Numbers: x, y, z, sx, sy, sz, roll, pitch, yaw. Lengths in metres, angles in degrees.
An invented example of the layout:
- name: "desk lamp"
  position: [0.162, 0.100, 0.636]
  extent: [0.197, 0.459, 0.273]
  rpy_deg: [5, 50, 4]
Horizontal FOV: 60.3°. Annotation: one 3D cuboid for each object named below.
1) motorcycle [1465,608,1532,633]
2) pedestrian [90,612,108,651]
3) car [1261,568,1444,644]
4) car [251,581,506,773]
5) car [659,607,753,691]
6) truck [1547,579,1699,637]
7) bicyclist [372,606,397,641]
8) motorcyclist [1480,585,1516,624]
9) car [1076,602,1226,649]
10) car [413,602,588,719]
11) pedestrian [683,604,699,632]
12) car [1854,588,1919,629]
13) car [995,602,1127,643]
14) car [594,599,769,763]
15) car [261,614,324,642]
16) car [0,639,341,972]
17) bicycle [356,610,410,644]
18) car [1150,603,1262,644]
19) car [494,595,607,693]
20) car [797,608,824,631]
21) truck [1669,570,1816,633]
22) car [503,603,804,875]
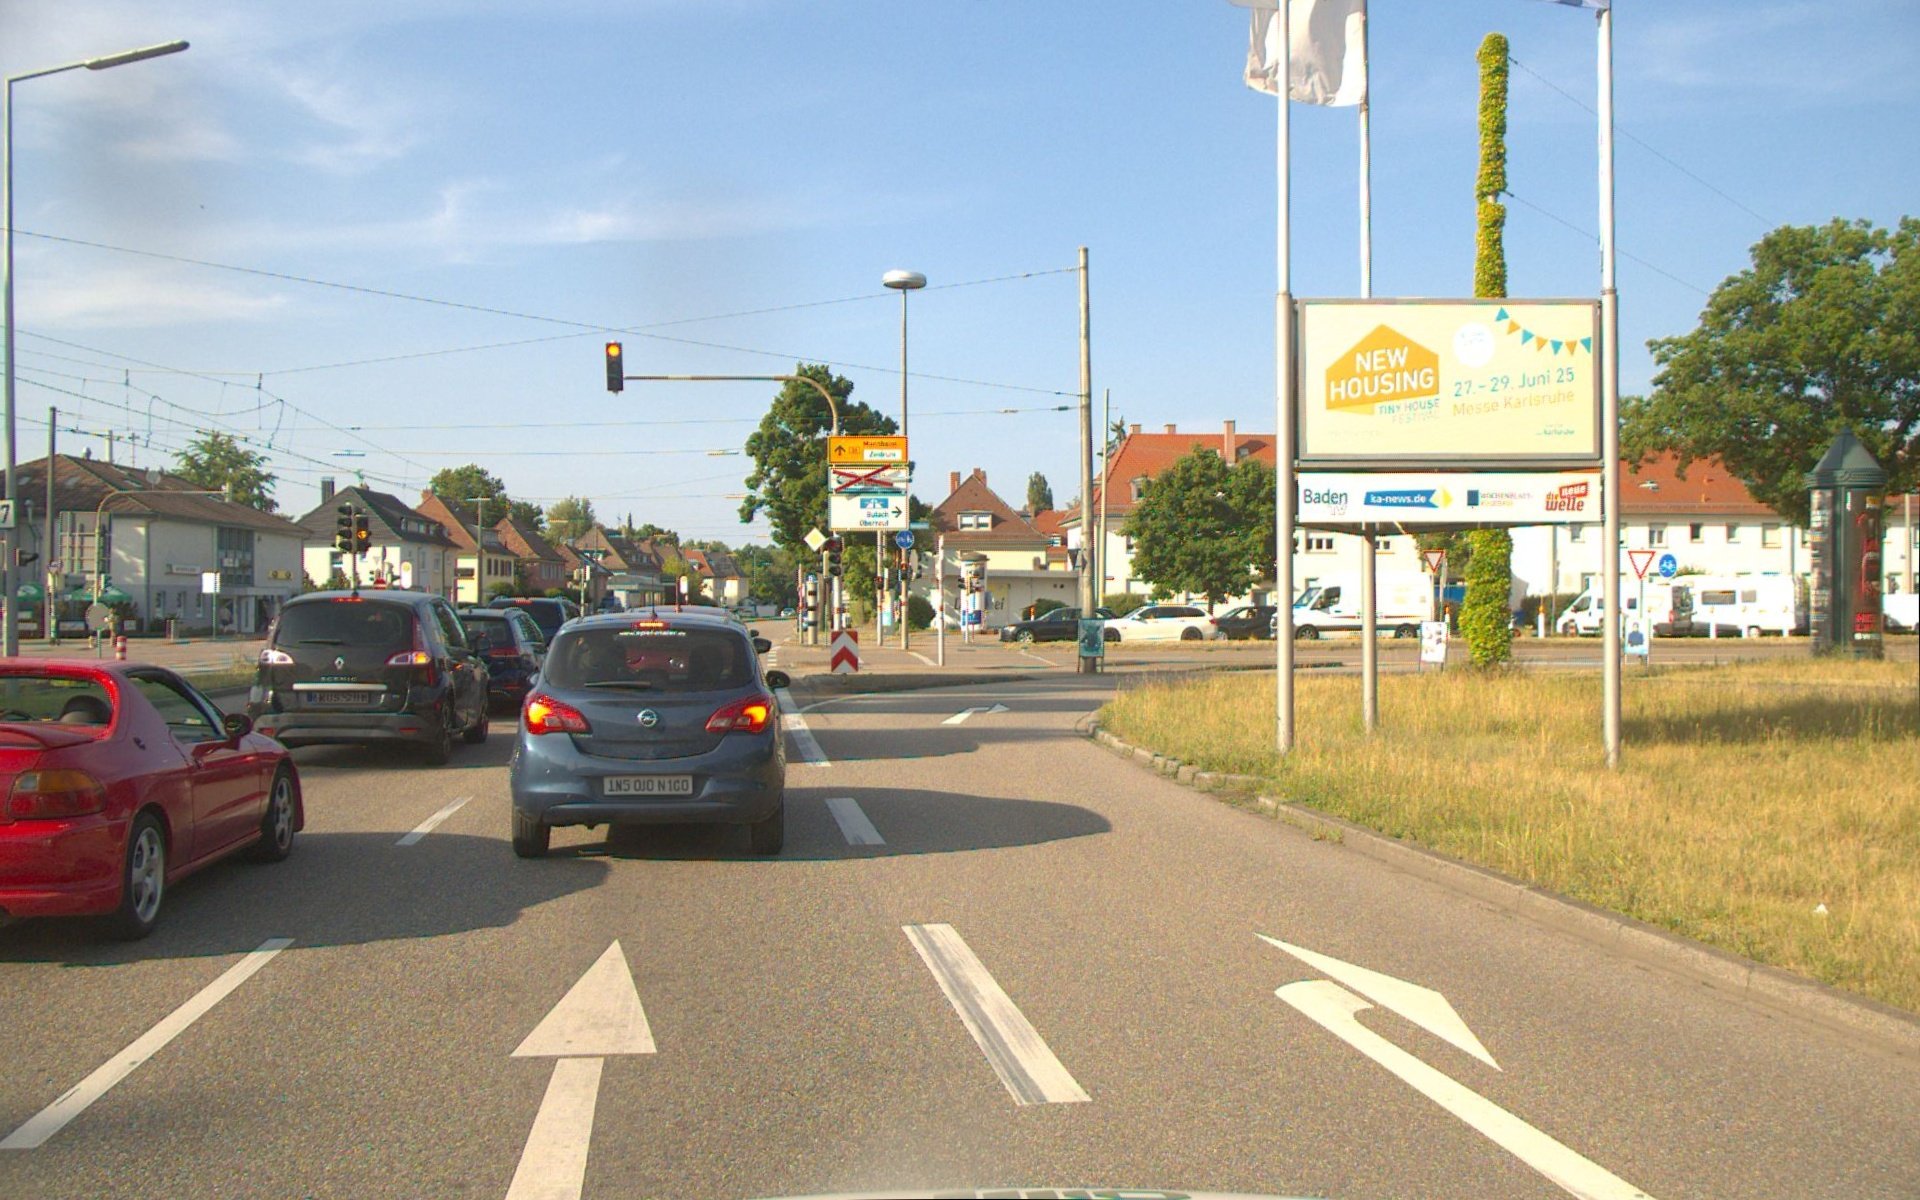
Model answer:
- name: "motorcycle"
  position: [19.254, 0.740, 59.159]
  extent: [2.228, 0.882, 0.689]
  rpy_deg: [0, 0, -8]
- name: "pedestrian"
  position: [-35.840, 1.296, 68.874]
  extent: [0.502, 1.627, 0.539]
  rpy_deg: [0, -1, -7]
- name: "car"
  position: [14.054, 0.213, 59.348]
  extent: [6.089, 2.629, 1.997]
  rpy_deg: [0, 0, -6]
- name: "car"
  position: [-5.756, 0.695, 16.844]
  extent: [1.731, 1.700, 4.075]
  rpy_deg: [0, 0, -9]
- name: "car"
  position: [-4.762, 0.868, 31.161]
  extent: [1.625, 1.468, 4.006]
  rpy_deg: [-1, 0, -8]
- name: "truck"
  position: [30.737, 0.346, 76.839]
  extent: [2.257, 2.568, 6.263]
  rpy_deg: [0, 0, -41]
- name: "bicyclist"
  position: [-24.247, 0.995, 69.736]
  extent: [0.869, 1.456, 1.132]
  rpy_deg: [1, -1, -15]
- name: "motorcyclist"
  position: [19.247, 0.153, 59.160]
  extent: [1.045, 1.375, 0.679]
  rpy_deg: [0, -1, -7]
- name: "car"
  position: [6.712, 0.887, 58.423]
  extent: [4.996, 1.590, 1.837]
  rpy_deg: [0, 0, -6]
- name: "car"
  position: [-6.568, 0.803, 24.085]
  extent: [1.667, 1.534, 4.548]
  rpy_deg: [0, 0, -6]
- name: "pedestrian"
  position: [-14.675, 0.971, 90.285]
  extent: [0.738, 1.525, 0.826]
  rpy_deg: [1, -1, -4]
- name: "car"
  position: [45.610, 0.432, 80.041]
  extent: [3.833, 1.953, 1.888]
  rpy_deg: [-1, -1, 38]
- name: "car"
  position: [3.740, 0.825, 61.612]
  extent: [4.730, 1.436, 1.713]
  rpy_deg: [0, 0, -6]
- name: "car"
  position: [-3.022, 0.794, 18.144]
  extent: [1.675, 1.579, 3.969]
  rpy_deg: [-1, 0, -9]
- name: "car"
  position: [-34.393, 1.456, 85.340]
  extent: [1.629, 1.369, 4.076]
  rpy_deg: [-1, -1, -1]
- name: "car"
  position: [-4.505, 0.869, 8.453]
  extent: [1.699, 1.227, 3.839]
  rpy_deg: [1, 0, -8]
- name: "bicycle"
  position: [-24.295, 1.152, 69.728]
  extent: [2.040, 1.371, 1.104]
  rpy_deg: [1, -1, -16]
- name: "car"
  position: [9.262, 0.873, 62.398]
  extent: [3.910, 1.478, 1.714]
  rpy_deg: [0, 0, -6]
- name: "car"
  position: [-7.650, 0.770, 31.219]
  extent: [1.478, 1.680, 4.737]
  rpy_deg: [-1, 0, -7]
- name: "car"
  position: [-9.492, 1.235, 104.931]
  extent: [1.642, 1.423, 3.995]
  rpy_deg: [1, -1, -6]
- name: "truck"
  position: [36.805, 0.102, 77.908]
  extent: [5.961, 2.904, 1.888]
  rpy_deg: [-1, -1, 38]
- name: "car"
  position: [-2.078, 0.796, 11.648]
  extent: [1.709, 1.532, 4.214]
  rpy_deg: [0, 0, -9]
